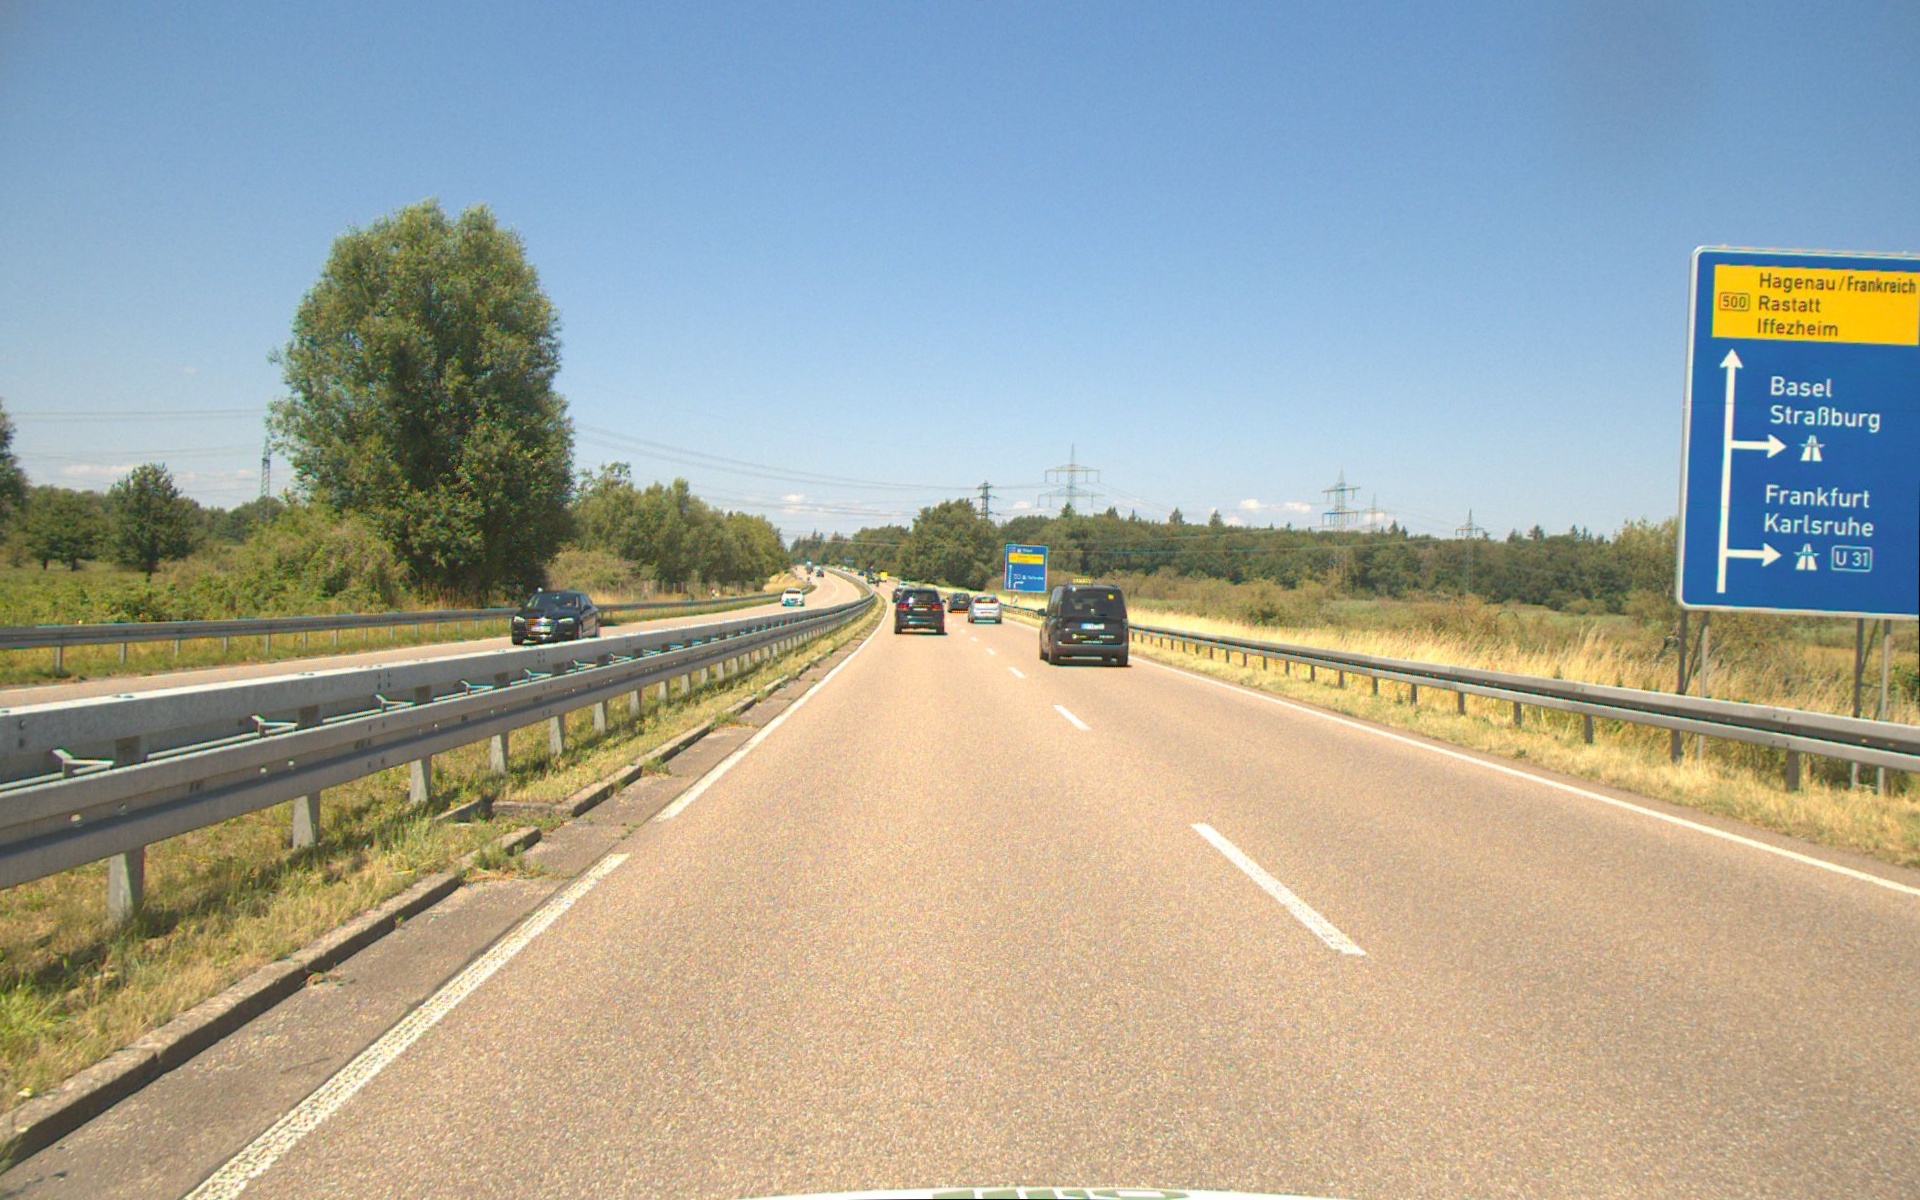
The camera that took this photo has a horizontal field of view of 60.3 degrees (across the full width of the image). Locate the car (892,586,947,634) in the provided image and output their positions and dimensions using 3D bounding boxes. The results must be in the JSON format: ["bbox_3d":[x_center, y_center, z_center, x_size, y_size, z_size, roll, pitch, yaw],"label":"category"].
[{"bbox_3d":[-1.575,0.373,63.366,1.954,1.683,3.998,3,0,-2],"label":"car"}]

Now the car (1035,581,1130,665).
[{"bbox_3d":[2.841,0.493,39.110,1.744,1.848,4.211,1,1,-2],"label":"car"}]

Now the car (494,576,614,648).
[{"bbox_3d":[-10.719,0.277,44.048,1.953,1.665,4.873,4,1,-1],"label":"car"}]

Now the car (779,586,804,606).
[{"bbox_3d":[-14.255,-0.357,140.165,1.790,1.523,4.101,2,0,-2],"label":"car"}]

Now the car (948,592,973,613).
[{"bbox_3d":[0.017,0.185,121.029,1.782,1.439,3.999,1,1,-1],"label":"car"}]

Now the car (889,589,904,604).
[{"bbox_3d":[-6.990,-0.362,181.930,1.484,1.500,3.065,4,1,-2],"label":"car"}]

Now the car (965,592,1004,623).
[{"bbox_3d":[1.256,0.387,86.979,1.743,1.505,4.313,3,0,-2],"label":"car"}]
